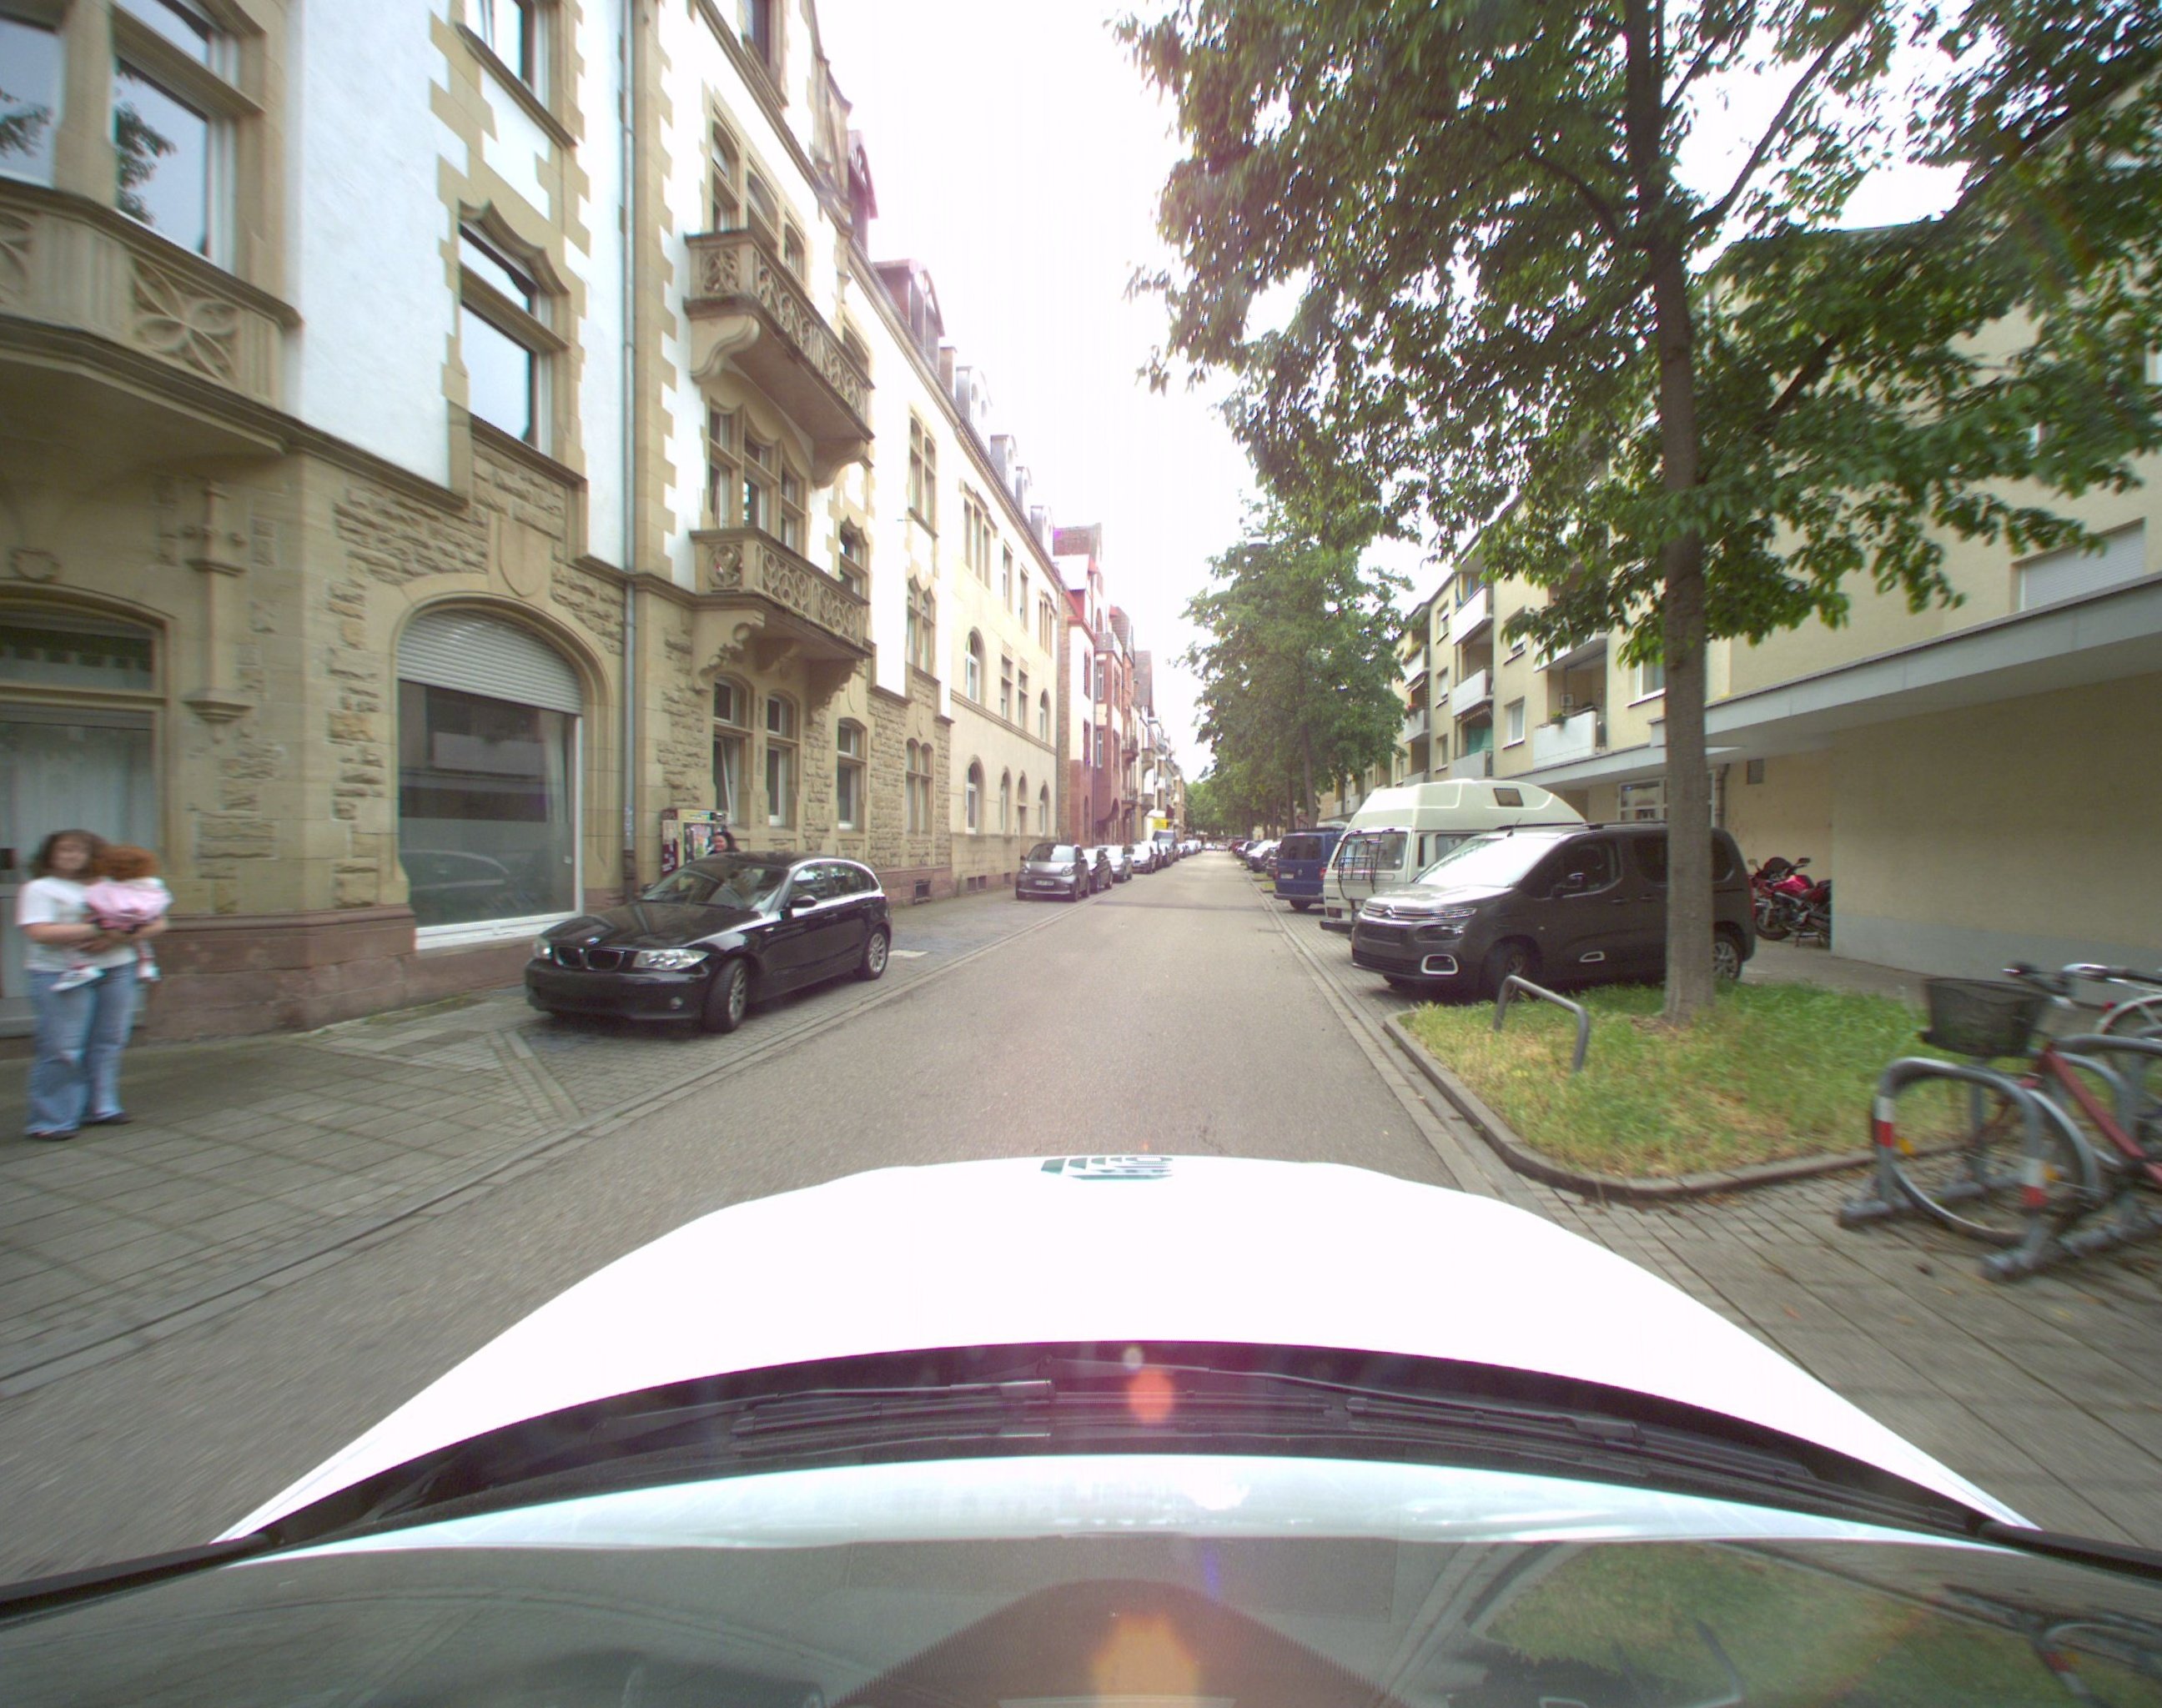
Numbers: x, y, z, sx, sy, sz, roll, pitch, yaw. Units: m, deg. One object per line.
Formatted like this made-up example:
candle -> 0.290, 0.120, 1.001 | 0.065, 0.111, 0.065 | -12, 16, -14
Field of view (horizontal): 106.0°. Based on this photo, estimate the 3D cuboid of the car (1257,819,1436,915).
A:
car -> 6.791, 0.275, 20.706 | 4.416, 2.196, 2.046 | 0, 1, -34

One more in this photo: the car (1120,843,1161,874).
car -> 3.125, 0.192, 42.151 | 1.652, 1.420, 3.940 | 2, 1, 10

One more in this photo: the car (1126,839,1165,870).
car -> 3.786, 0.008, 47.201 | 1.775, 1.646, 4.374 | 2, 1, 10

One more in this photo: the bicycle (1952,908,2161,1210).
bicycle -> 4.679, 0.851, 3.172 | 0.548, 1.174, 1.721 | 0, -1, -12

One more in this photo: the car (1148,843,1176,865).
car -> 5.804, 0.030, 58.242 | 1.657, 1.473, 4.011 | 2, 0, 10

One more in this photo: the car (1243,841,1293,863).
car -> 17.522, -0.184, 76.425 | 4.186, 1.869, 1.987 | -2, 0, -20

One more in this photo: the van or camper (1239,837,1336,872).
van or camper -> 11.797, 0.007, 46.538 | 5.019, 1.869, 2.114 | -1, 0, -18

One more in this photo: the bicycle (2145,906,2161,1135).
bicycle -> 5.994, 0.853, 3.475 | 0.548, 1.174, 1.691 | 0, -1, -12

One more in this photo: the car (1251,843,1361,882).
car -> 9.723, 0.347, 35.292 | 4.224, 1.500, 1.964 | -2, 0, -18

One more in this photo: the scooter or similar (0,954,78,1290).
scooter or similar -> -4.510, 0.943, 2.945 | 1.457, 1.104, 0.679 | 3, 1, 21

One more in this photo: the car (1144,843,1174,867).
car -> 5.148, 0.057, 53.312 | 1.624, 1.473, 4.012 | 2, 1, 10

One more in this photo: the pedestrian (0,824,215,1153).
pedestrian -> -5.187, 0.644, 4.357 | 0.673, 1.593, 0.624 | 0, 1, -39

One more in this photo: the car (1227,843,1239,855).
car -> 27.784, -0.959, 149.217 | 1.982, 2.013, 4.011 | 4, 1, 9

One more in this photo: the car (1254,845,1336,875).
car -> 11.427, 0.297, 43.604 | 3.861, 1.502, 1.900 | -1, 0, -20

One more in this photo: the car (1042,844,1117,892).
car -> 0.035, 0.430, 26.460 | 1.715, 1.386, 3.940 | 2, 0, 10

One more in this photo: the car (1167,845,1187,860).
car -> 9.930, -0.209, 84.190 | 1.779, 1.480, 4.033 | 2, 1, 9

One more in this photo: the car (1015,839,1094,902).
car -> -0.673, 0.396, 22.713 | 1.637, 1.570, 2.965 | 2, 2, 9

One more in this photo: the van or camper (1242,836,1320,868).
van or camper -> 13.540, -0.127, 55.111 | 4.739, 1.994, 1.989 | -1, -2, -16

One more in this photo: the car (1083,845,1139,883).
car -> 1.293, 0.347, 33.345 | 1.716, 1.386, 4.148 | 2, 1, 10

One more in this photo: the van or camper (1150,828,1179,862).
van or camper -> 7.003, -0.752, 67.884 | 1.996, 2.651, 5.331 | 0, 1, 10

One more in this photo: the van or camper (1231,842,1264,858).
van or camper -> 23.005, -0.559, 112.548 | 4.158, 2.085, 1.941 | 0, 1, -18

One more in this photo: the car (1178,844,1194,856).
car -> 13.812, -0.558, 106.849 | 1.981, 1.475, 4.011 | 0, 1, 10

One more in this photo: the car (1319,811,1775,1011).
car -> 5.077, 0.518, 9.038 | 4.340, 1.854, 1.901 | 0, 1, -16

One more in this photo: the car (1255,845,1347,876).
car -> 11.054, 0.314, 40.954 | 4.048, 1.483, 1.937 | -1, 0, -16

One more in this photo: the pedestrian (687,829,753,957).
pedestrian -> -4.387, 0.457, 9.921 | 0.512, 1.518, 0.548 | 0, 1, 10

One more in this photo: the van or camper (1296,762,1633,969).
van or camper -> 5.640, 0.128, 11.962 | 4.601, 2.595, 1.897 | 0, 1, -23

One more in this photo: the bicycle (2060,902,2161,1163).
bicycle -> 5.338, 0.828, 3.283 | 0.548, 1.174, 1.721 | 0, -1, -12

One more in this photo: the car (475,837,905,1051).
car -> -3.375, 0.634, 8.025 | 1.698, 1.494, 4.013 | 2, 1, 11

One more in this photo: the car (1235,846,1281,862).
car -> 17.232, 0.010, 79.351 | 4.025, 1.559, 1.871 | 0, 1, -21

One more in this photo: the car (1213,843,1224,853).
car -> 25.977, -1.046, 153.773 | 1.982, 1.794, 4.010 | 2, 0, 9

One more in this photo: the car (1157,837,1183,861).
car -> 8.047, -0.467, 73.506 | 1.981, 2.013, 4.905 | 0, 1, 10

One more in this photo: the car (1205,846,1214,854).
car -> 26.372, -0.824, 167.188 | 1.810, 1.645, 3.763 | 2, 0, 9

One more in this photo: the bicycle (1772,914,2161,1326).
bicycle -> 3.503, 0.852, 2.819 | 0.548, 1.174, 1.721 | 0, -1, -12

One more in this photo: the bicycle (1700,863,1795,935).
bicycle -> 10.972, 0.702, 13.469 | 0.481, 1.090, 1.706 | 0, 0, 12
